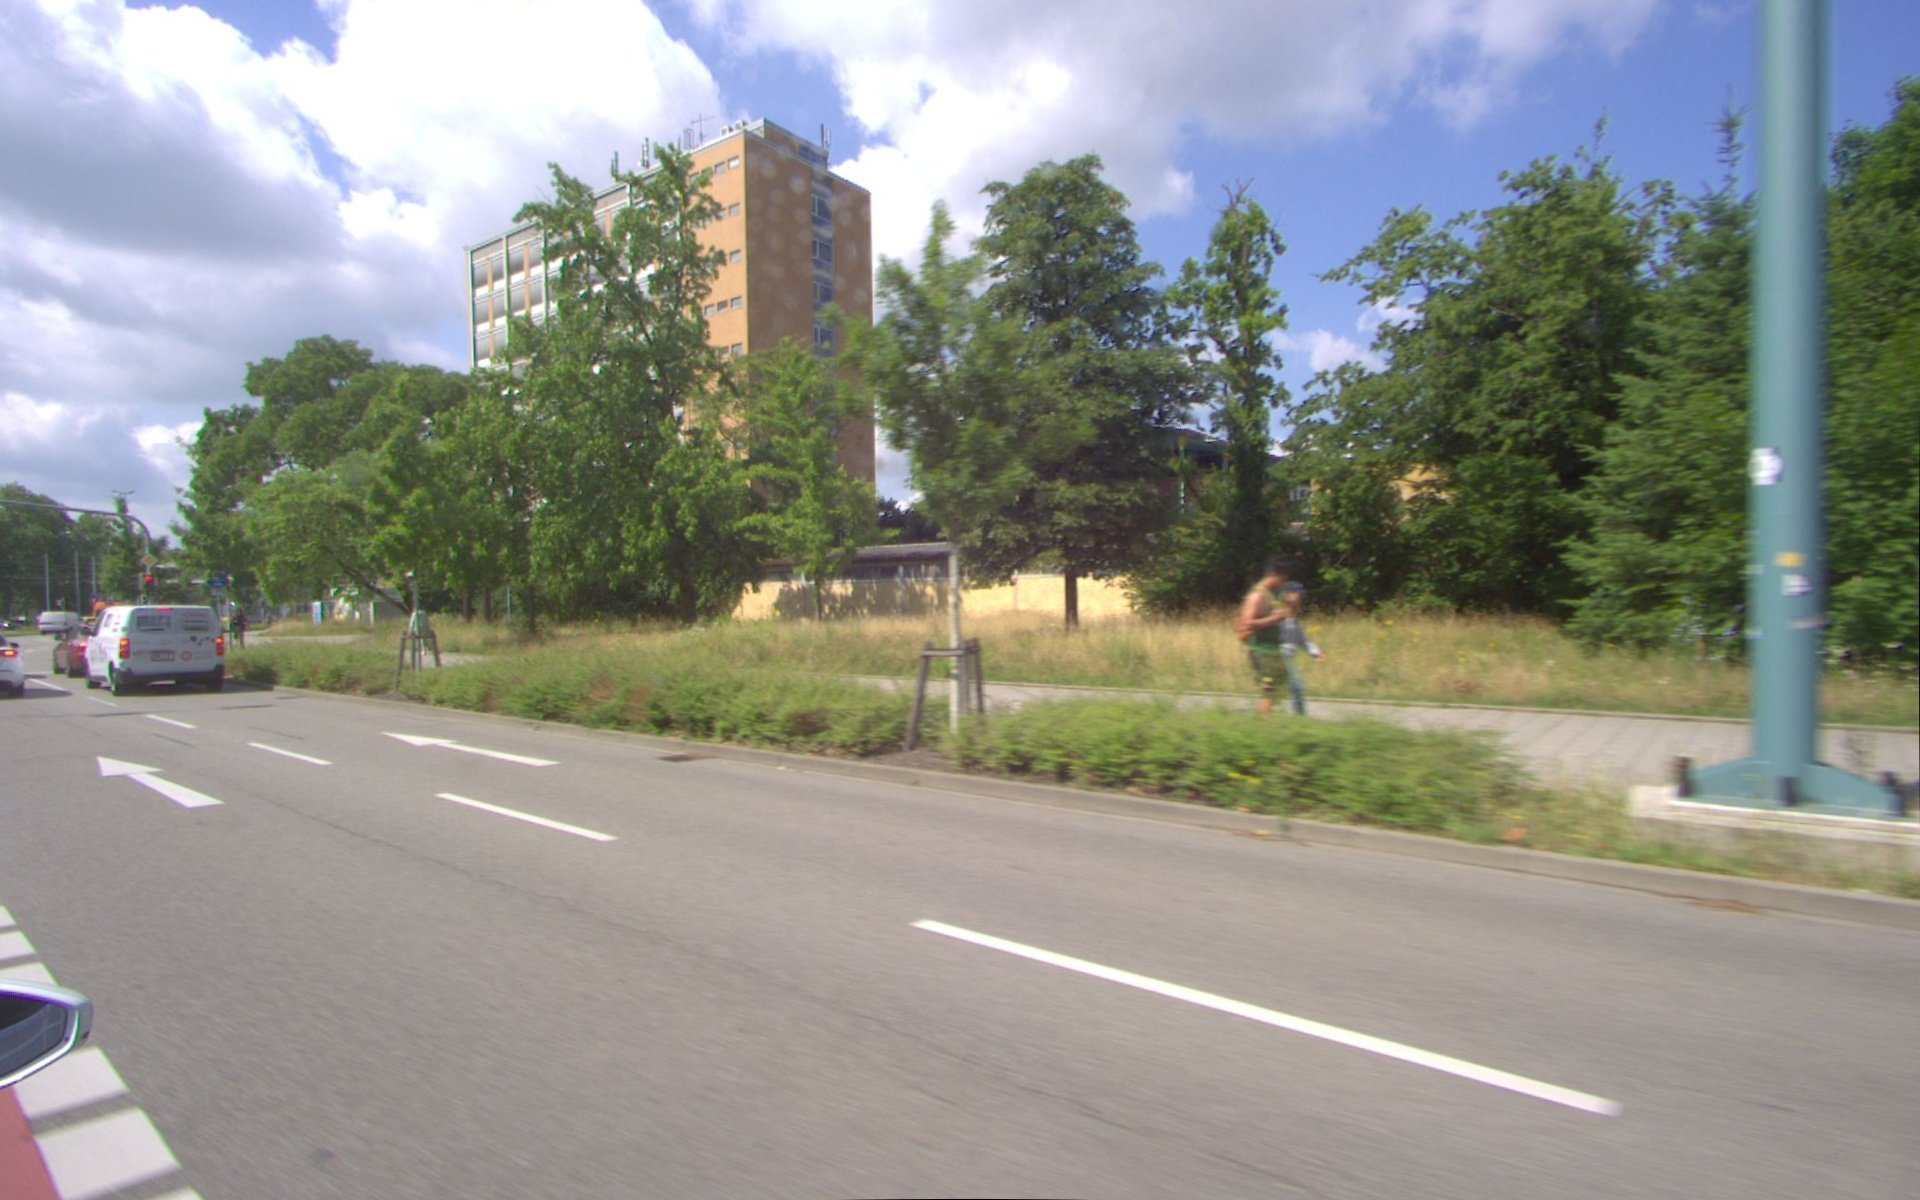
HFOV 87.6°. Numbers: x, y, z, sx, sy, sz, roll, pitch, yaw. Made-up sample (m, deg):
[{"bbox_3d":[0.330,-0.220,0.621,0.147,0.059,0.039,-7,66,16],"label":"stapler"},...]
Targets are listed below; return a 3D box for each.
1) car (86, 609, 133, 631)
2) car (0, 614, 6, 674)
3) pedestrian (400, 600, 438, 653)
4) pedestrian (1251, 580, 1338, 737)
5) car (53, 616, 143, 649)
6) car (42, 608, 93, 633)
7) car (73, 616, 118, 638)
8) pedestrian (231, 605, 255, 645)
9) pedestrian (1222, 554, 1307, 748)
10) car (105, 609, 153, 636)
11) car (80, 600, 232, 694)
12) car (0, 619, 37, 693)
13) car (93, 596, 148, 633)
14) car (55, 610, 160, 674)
[{"bbox_3d":[-74.156,1.721,87.341,1.967,1.851,3.987,-1,0,-23],"label":"car"},{"bbox_3d":[-27.163,1.154,26.993,3.966,1.559,1.782,-1,-1,42],"label":"car"},{"bbox_3d":[-17.230,0.826,31.870,0.713,1.660,0.863,0,1,43],"label":"pedestrian"},{"bbox_3d":[3.561,0.599,10.664,0.700,1.602,0.620,0,1,41],"label":"pedestrian"},{"bbox_3d":[-50.526,1.922,58.796,1.961,1.838,4.002,1,-3,-5],"label":"car"},{"bbox_3d":[-77.329,1.758,86.844,1.980,1.993,4.621,-1,0,-25],"label":"car"},{"bbox_3d":[-81.223,2.518,94.141,1.966,1.964,4.621,-1,0,-25],"label":"car"},{"bbox_3d":[-32.447,1.126,45.322,0.672,1.758,0.738,0,1,45],"label":"pedestrian"},{"bbox_3d":[2.998,0.485,9.867,0.631,1.826,0.564,0,1,41],"label":"pedestrian"},{"bbox_3d":[-60.118,1.611,72.510,1.971,1.819,3.978,-2,0,-31],"label":"car"},{"bbox_3d":[-18.260,0.966,22.661,4.771,1.895,1.932,0,0,42],"label":"car"},{"bbox_3d":[-21.015,1.153,21.115,4.336,1.443,1.894,0,0,42],"label":"car"},{"bbox_3d":[-67.206,1.167,80.244,2.103,2.818,4.621,-2,0,-25],"label":"car"},{"bbox_3d":[-24.204,1.131,28.369,4.412,1.663,1.672,-1,0,42],"label":"car"}]
